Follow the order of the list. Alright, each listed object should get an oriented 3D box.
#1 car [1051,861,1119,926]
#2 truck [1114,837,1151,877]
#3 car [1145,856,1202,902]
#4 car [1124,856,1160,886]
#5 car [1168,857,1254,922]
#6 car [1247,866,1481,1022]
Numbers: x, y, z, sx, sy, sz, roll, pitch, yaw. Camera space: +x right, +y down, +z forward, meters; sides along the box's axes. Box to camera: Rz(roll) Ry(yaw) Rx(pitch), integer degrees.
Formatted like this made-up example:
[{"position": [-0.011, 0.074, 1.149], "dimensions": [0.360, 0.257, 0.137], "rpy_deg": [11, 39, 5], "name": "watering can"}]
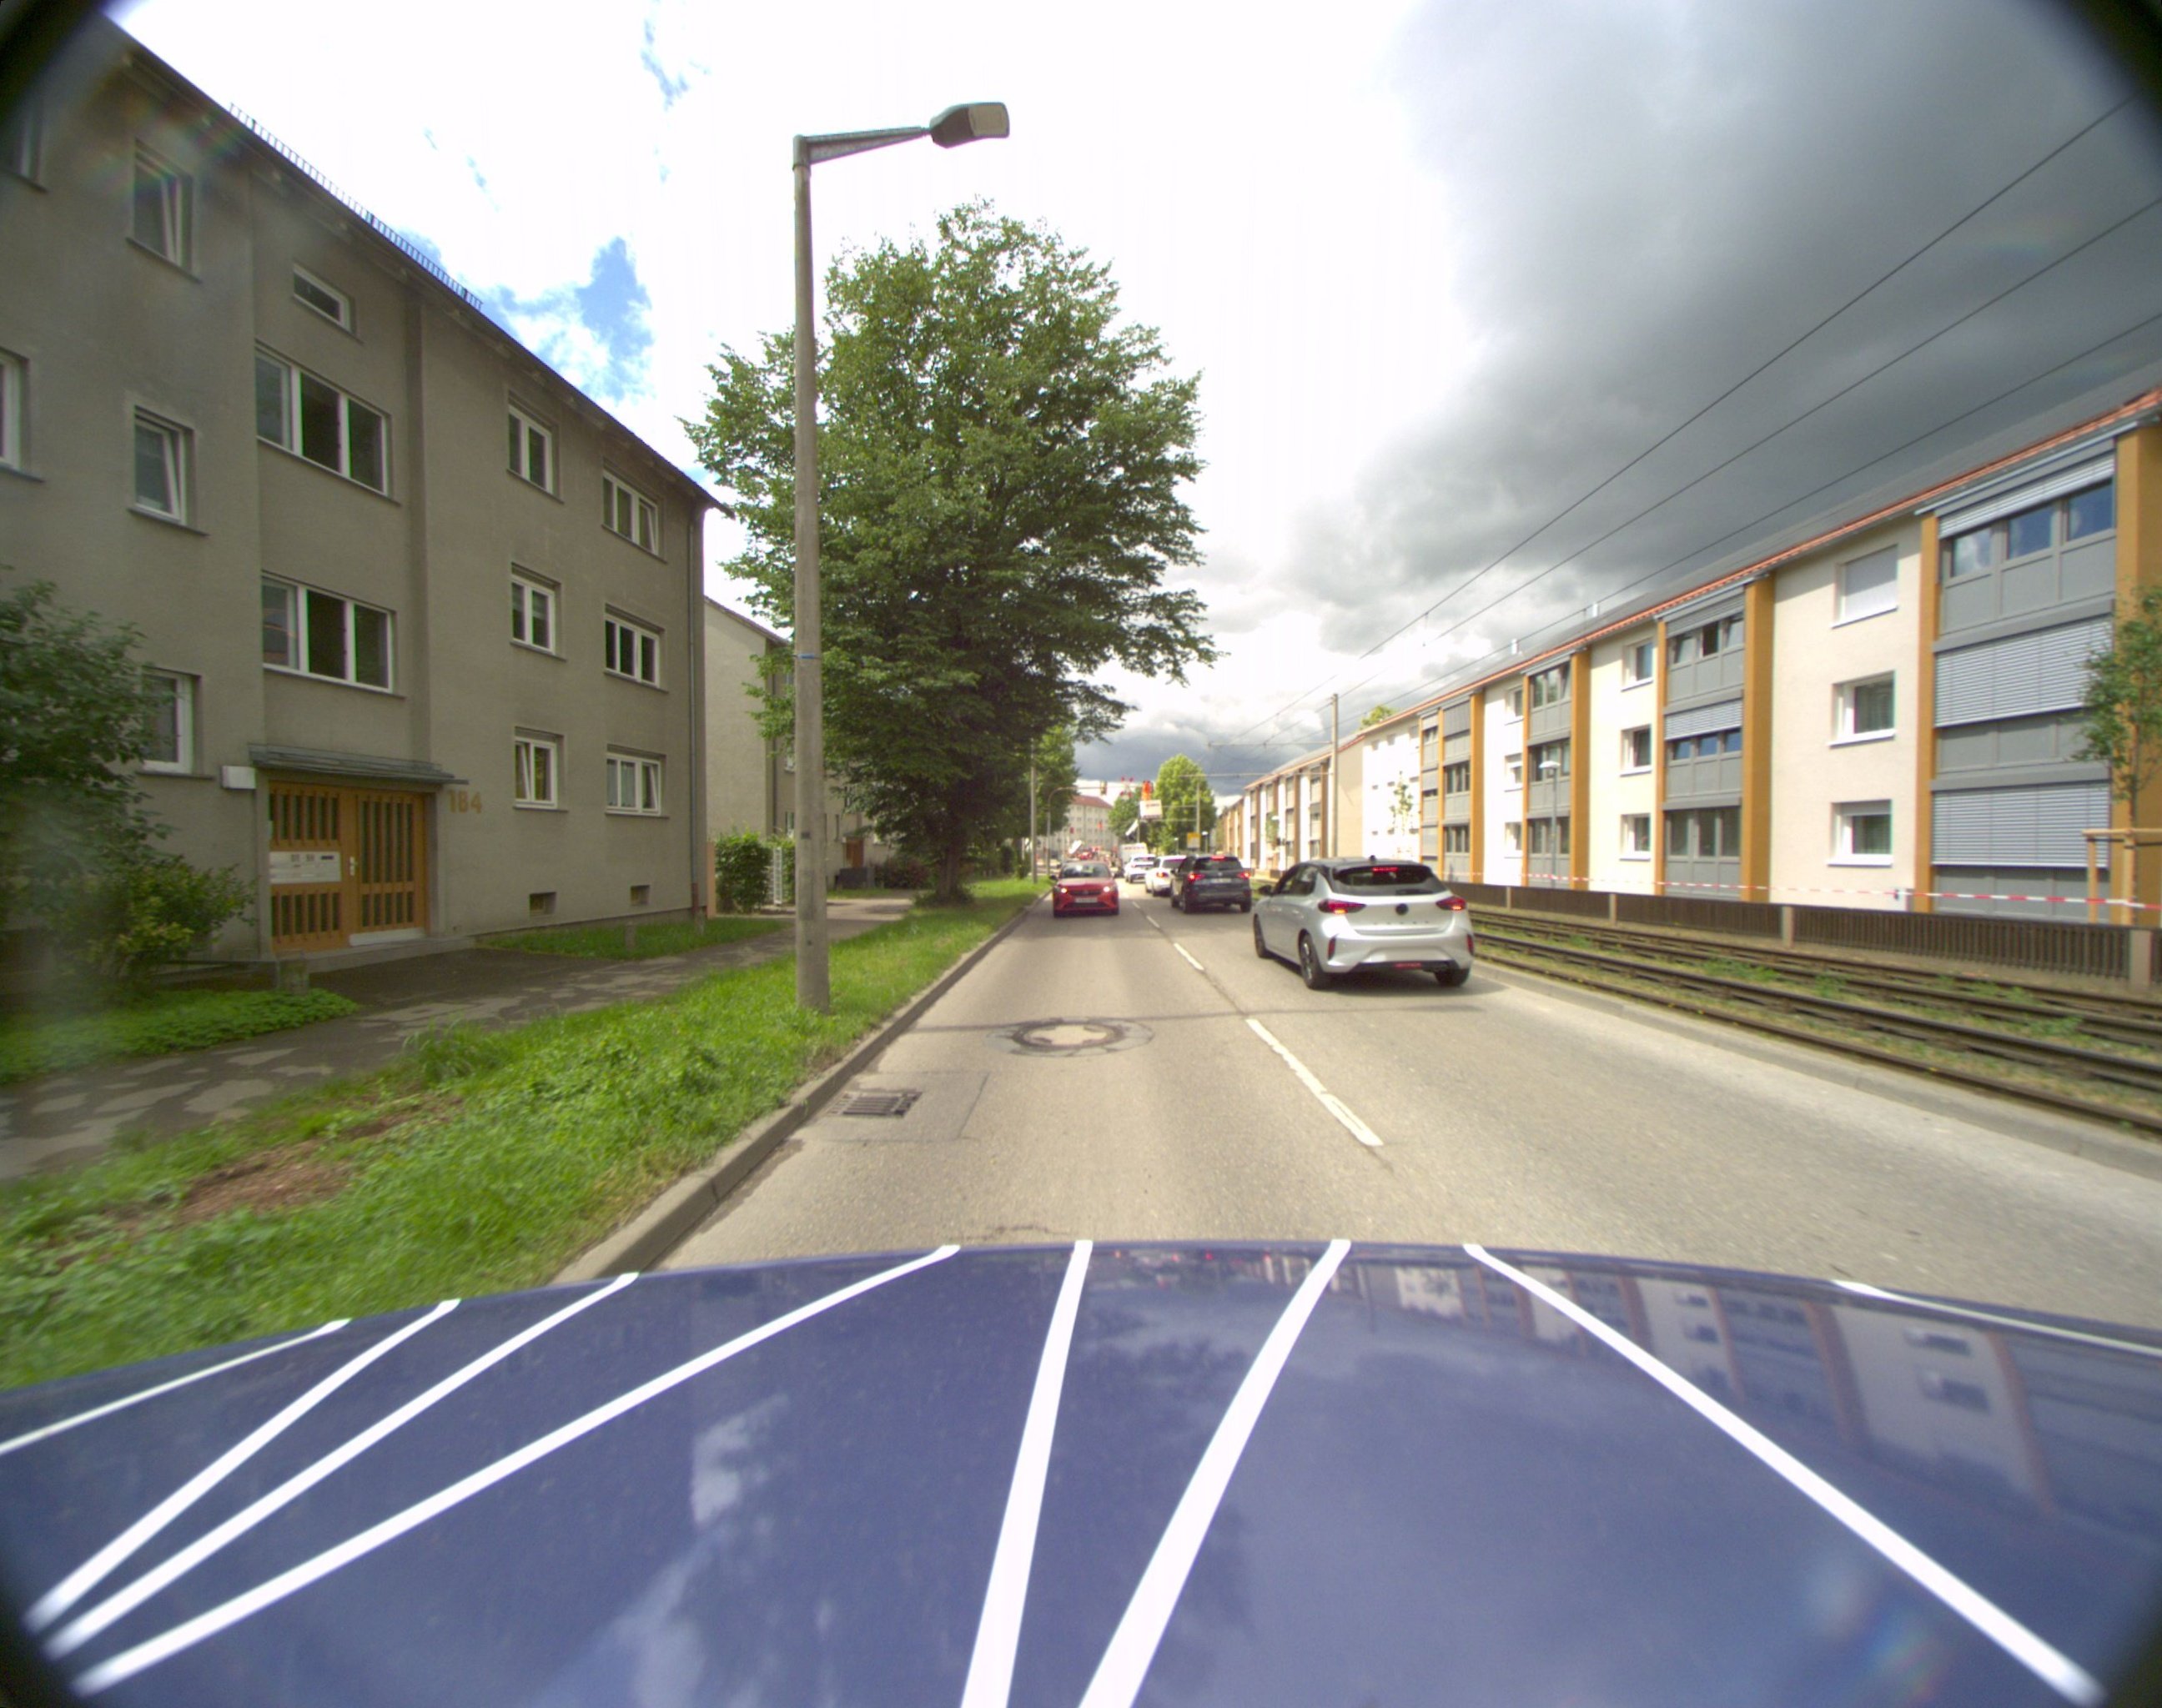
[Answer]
[{"position": [0.119, 0.997, 20.805], "dimensions": [1.666, 1.513, 3.786], "rpy_deg": [-2, 0, 0], "name": "car"}, {"position": [3.709, 0.179, 55.162], "dimensions": [2.096, 2.723, 5.096], "rpy_deg": [-2, 1, -2], "name": "truck"}, {"position": [3.388, 0.885, 28.414], "dimensions": [1.666, 1.512, 3.786], "rpy_deg": [-2, 0, 1], "name": "car"}, {"position": [3.360, 0.893, 42.089], "dimensions": [1.666, 1.512, 3.861], "rpy_deg": [-2, 0, 1], "name": "car"}, {"position": [3.375, 0.871, 20.355], "dimensions": [1.666, 1.512, 3.678], "rpy_deg": [-2, 0, 1], "name": "car"}, {"position": [3.202, 0.929, 9.362], "dimensions": [1.613, 1.405, 3.647], "rpy_deg": [-2, 1, 2], "name": "car"}]
